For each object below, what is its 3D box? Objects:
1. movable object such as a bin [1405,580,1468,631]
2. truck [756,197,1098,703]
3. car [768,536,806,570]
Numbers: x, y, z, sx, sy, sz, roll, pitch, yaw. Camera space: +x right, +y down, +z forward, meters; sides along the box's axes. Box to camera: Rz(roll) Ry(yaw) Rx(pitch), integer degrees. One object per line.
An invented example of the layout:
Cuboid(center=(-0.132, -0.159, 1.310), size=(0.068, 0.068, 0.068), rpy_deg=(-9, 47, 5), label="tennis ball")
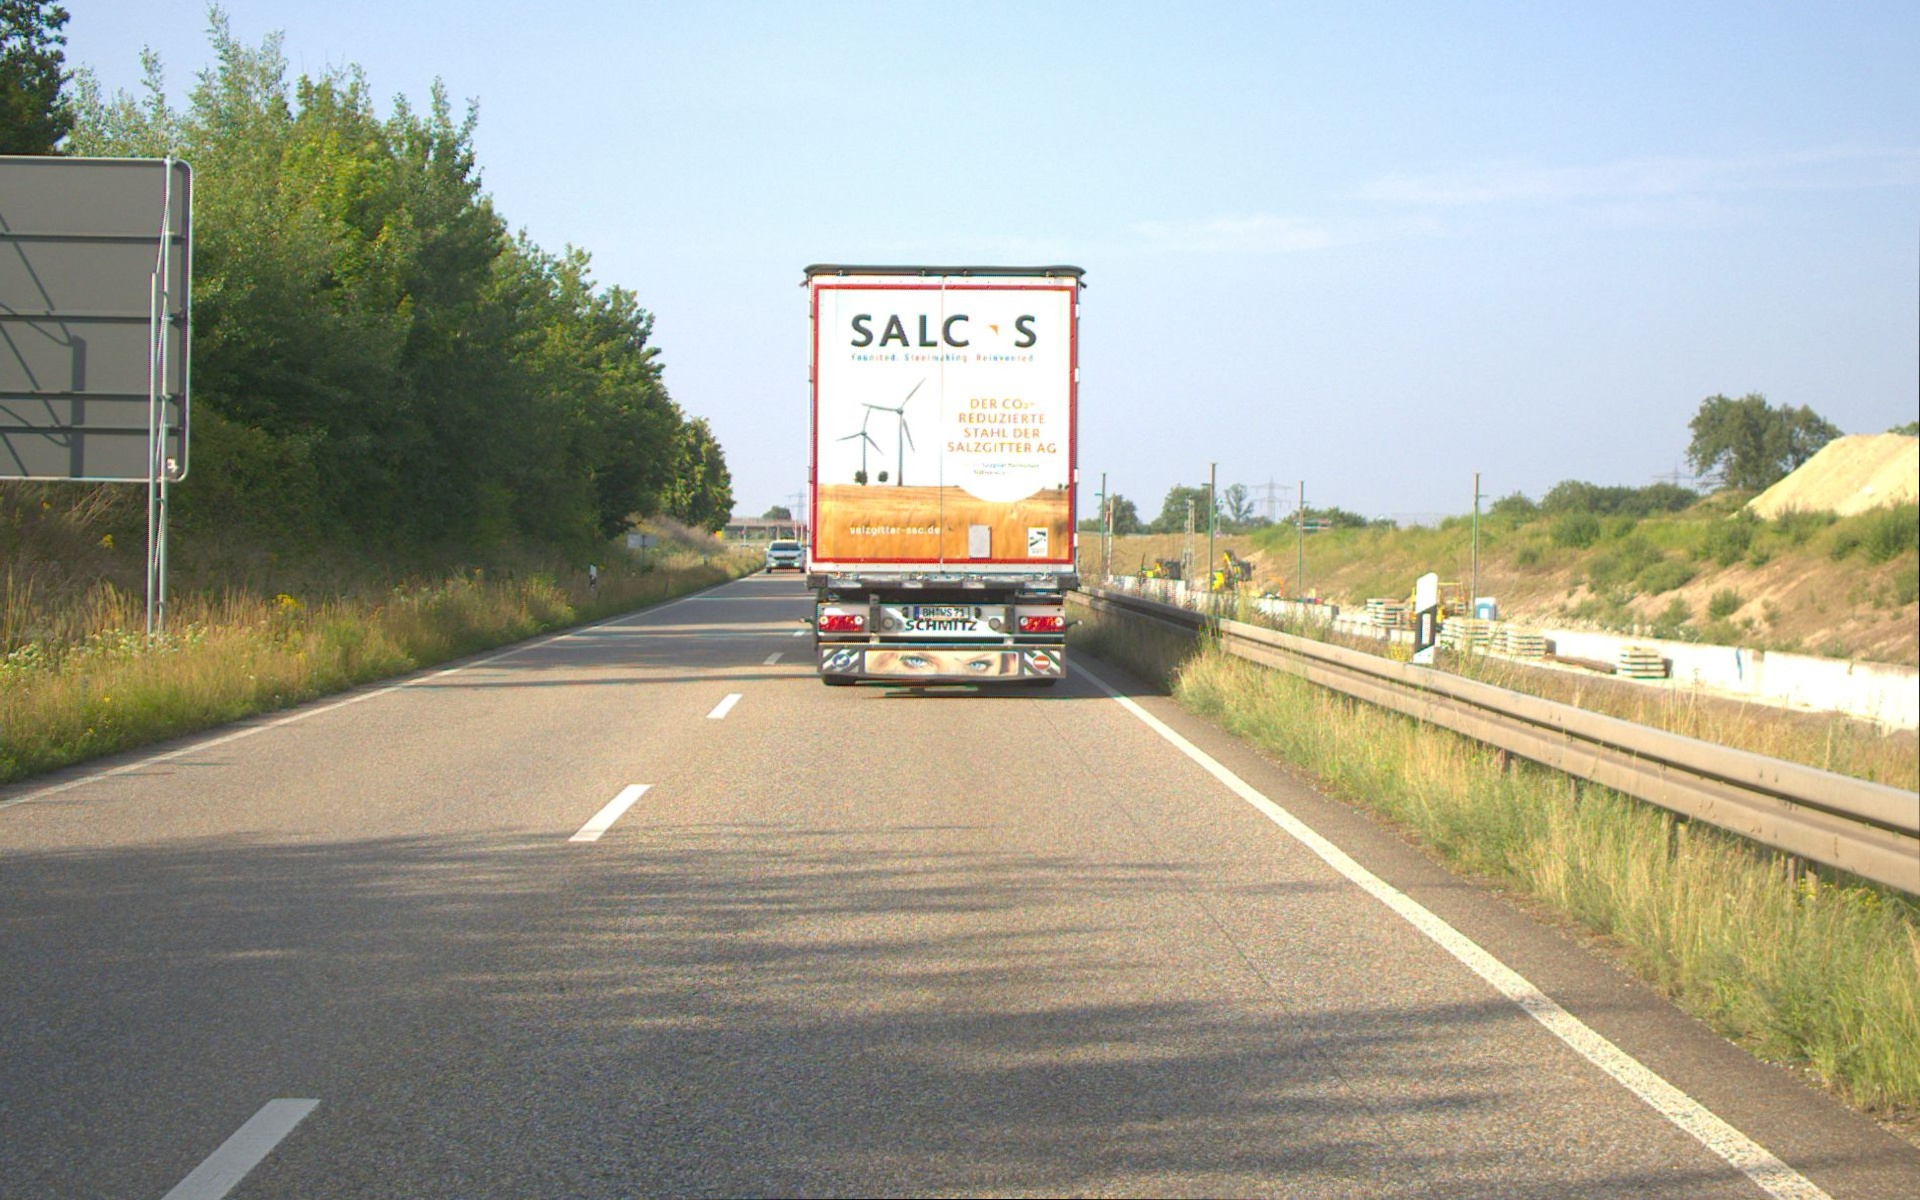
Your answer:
Cuboid(center=(25.586, 0.299, 184.673), size=(2.907, 2.652, 2.017), rpy_deg=(1, 1, 23), label="movable object such as a bin")
Cuboid(center=(-0.429, -1.456, 36.053), size=(3.153, 4.672, 8.442), rpy_deg=(0, 1, -2), label="truck")
Cuboid(center=(-8.176, -2.241, 162.892), size=(1.744, 1.559, 4.366), rpy_deg=(1, 1, -2), label="car")
